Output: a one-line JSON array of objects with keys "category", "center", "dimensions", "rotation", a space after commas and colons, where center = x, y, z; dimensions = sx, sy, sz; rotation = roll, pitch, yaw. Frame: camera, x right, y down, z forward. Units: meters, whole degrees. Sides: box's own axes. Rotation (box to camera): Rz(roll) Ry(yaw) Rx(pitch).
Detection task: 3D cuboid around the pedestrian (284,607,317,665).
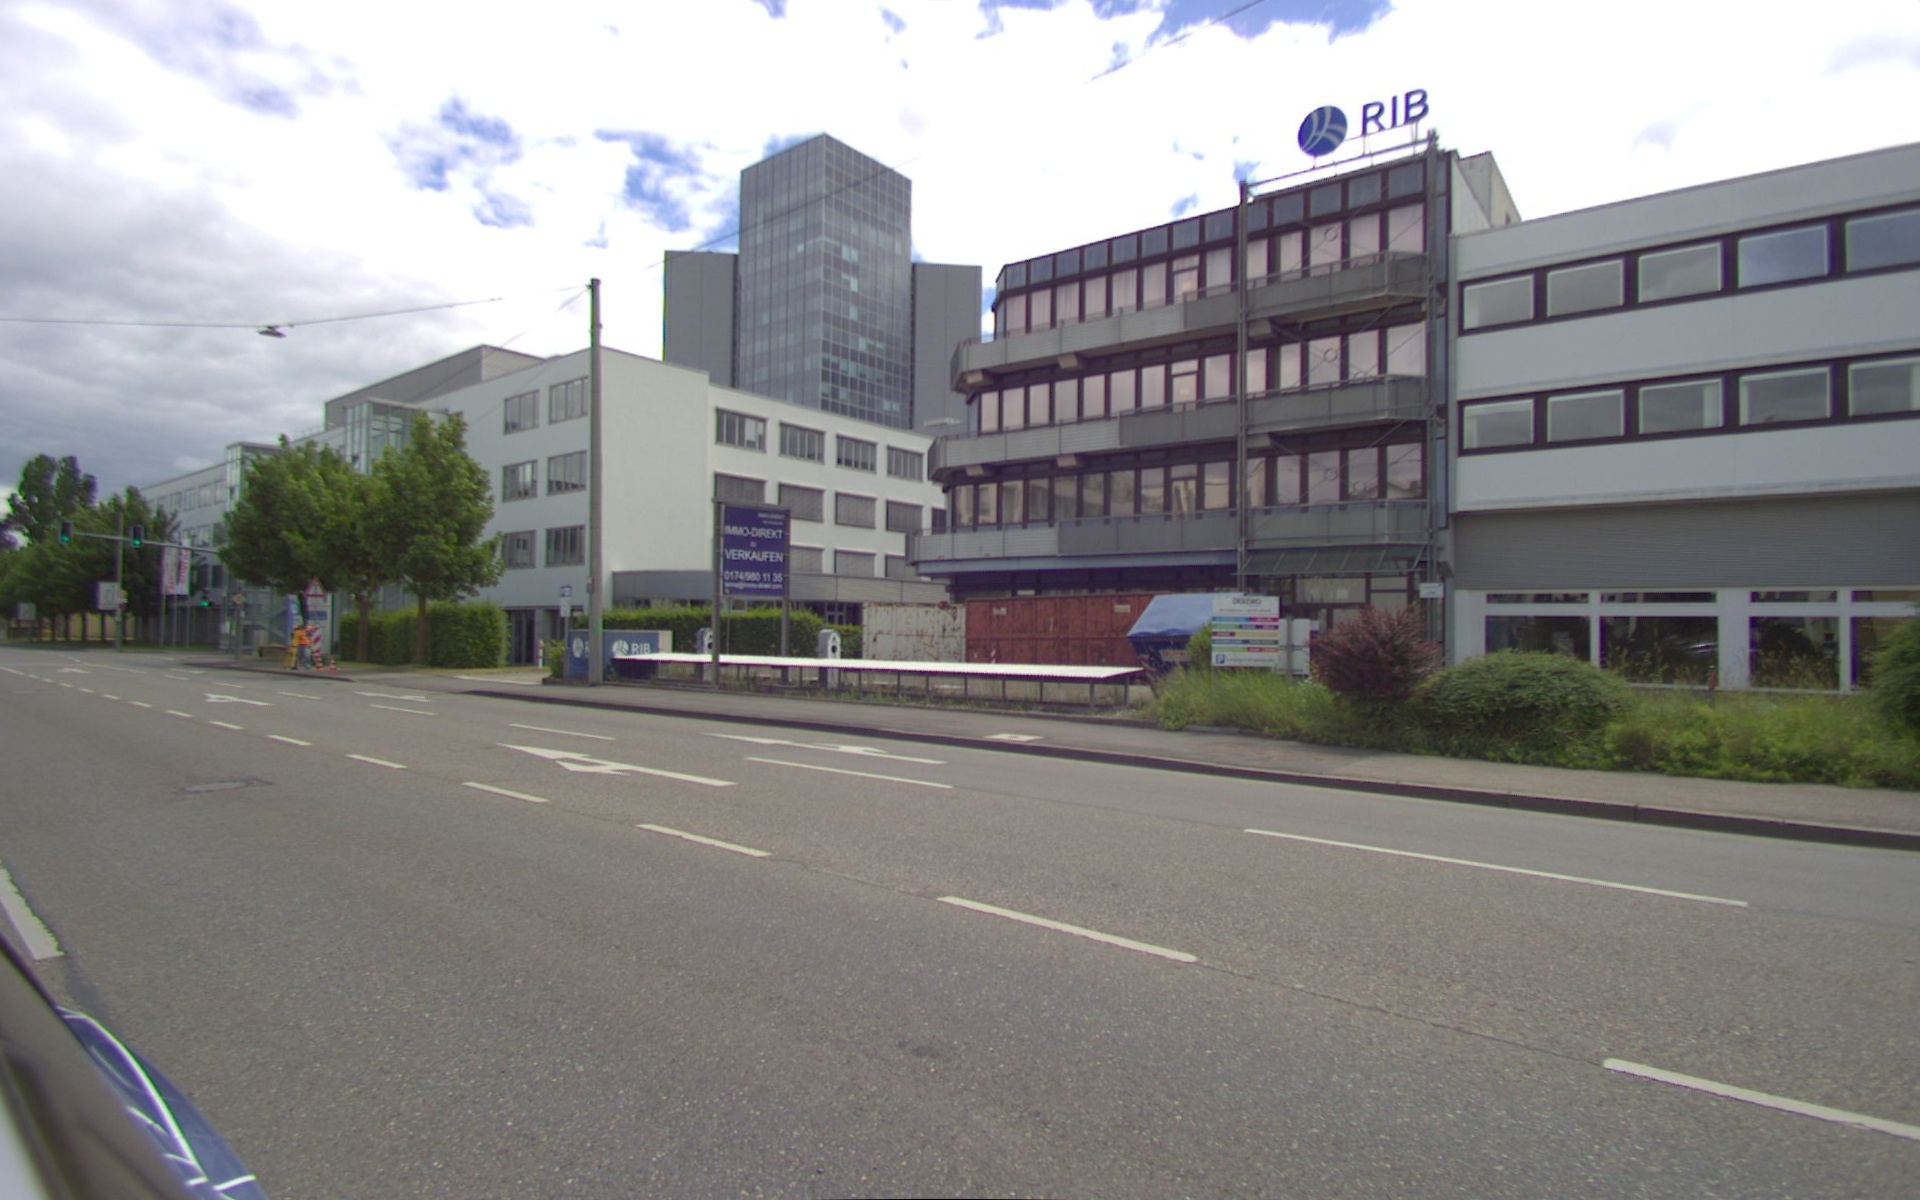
[{"category": "pedestrian", "center": [-23.502, 1.287, 36.072], "dimensions": [0.715, 2.029, 0.812], "rotation": [0, 0, -7]}]
